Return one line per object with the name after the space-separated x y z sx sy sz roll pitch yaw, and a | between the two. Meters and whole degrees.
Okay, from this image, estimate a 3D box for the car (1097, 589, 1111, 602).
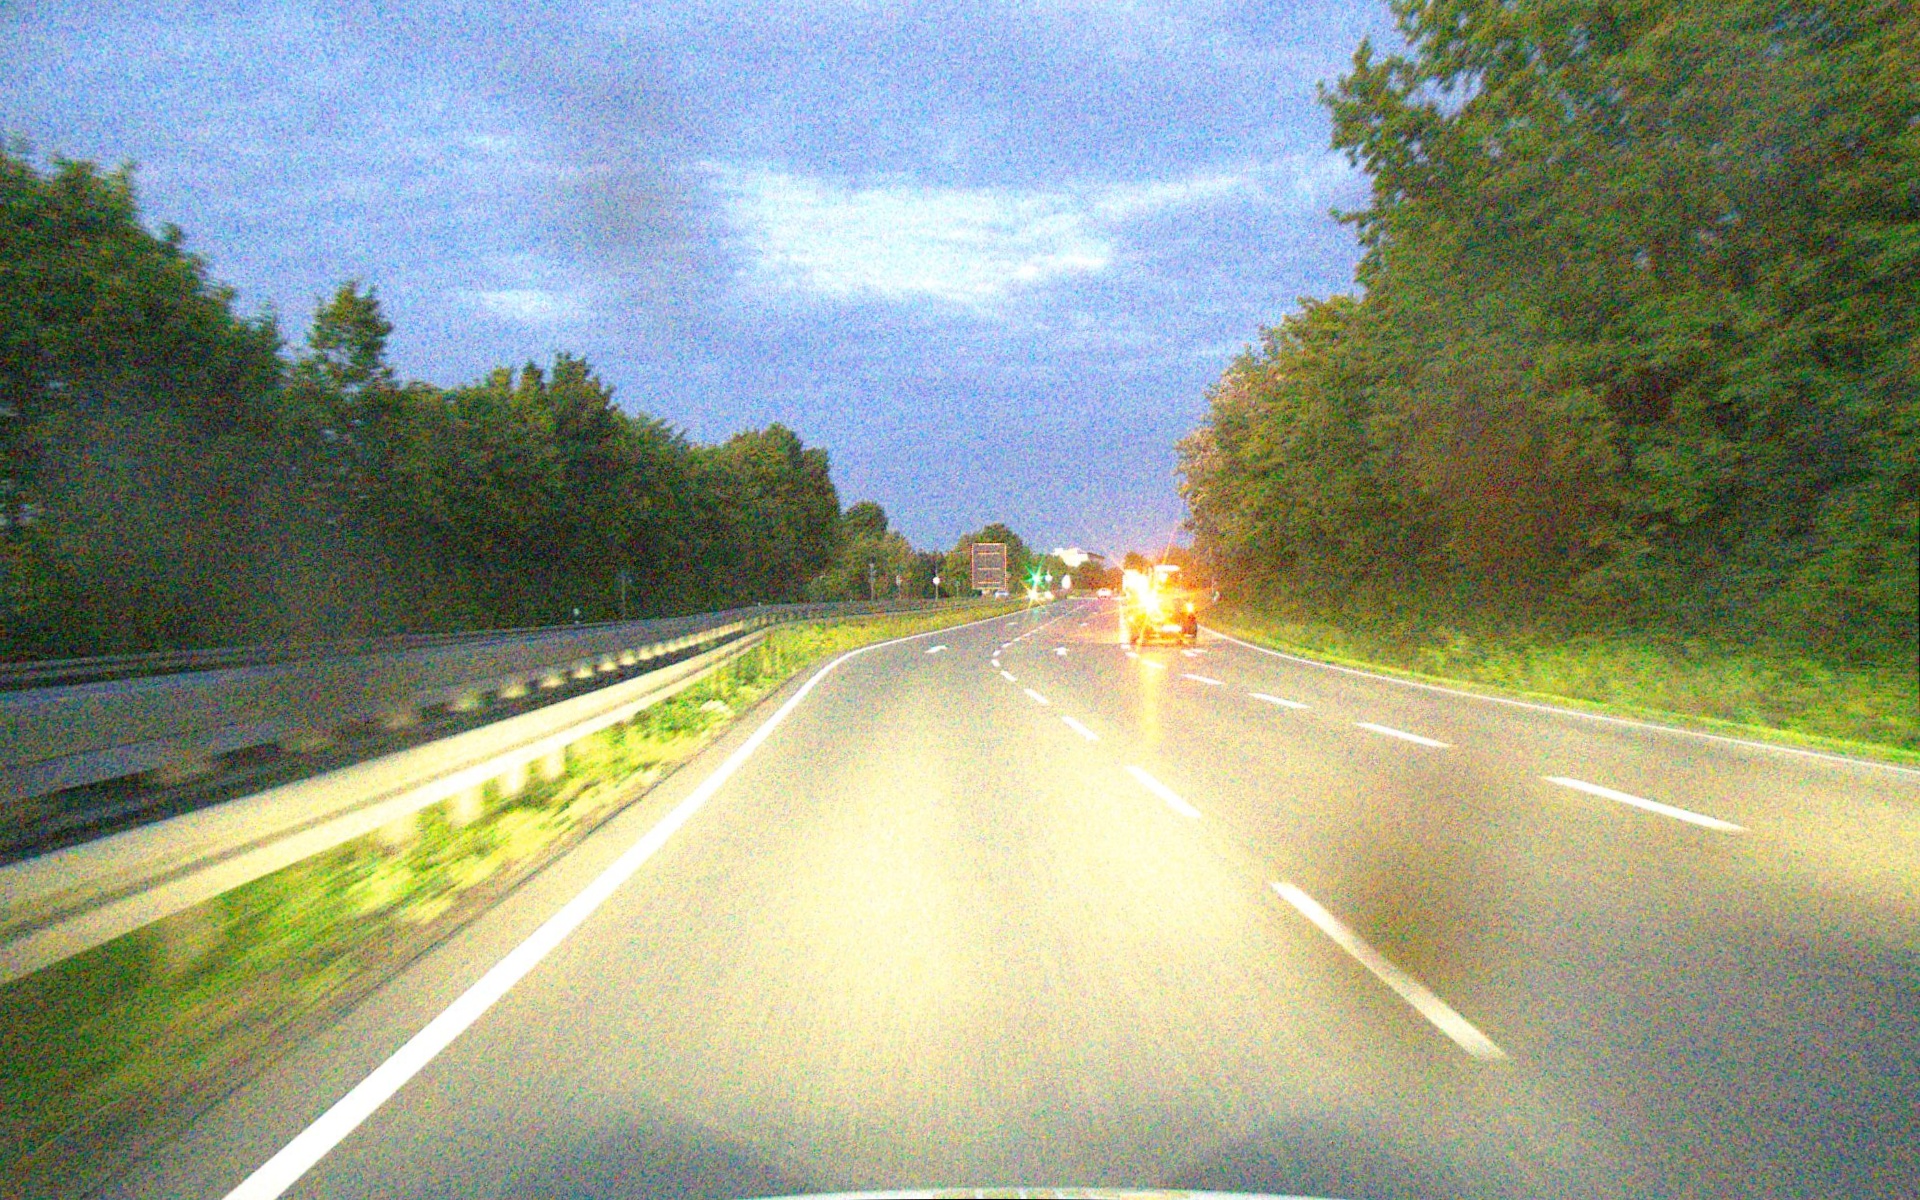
21.043 -0.617 241.813 1.952 1.780 4.002 -4 -1 4 | car

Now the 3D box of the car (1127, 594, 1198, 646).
6.093 0.571 50.092 1.716 1.478 4.434 -1 0 2 | car
